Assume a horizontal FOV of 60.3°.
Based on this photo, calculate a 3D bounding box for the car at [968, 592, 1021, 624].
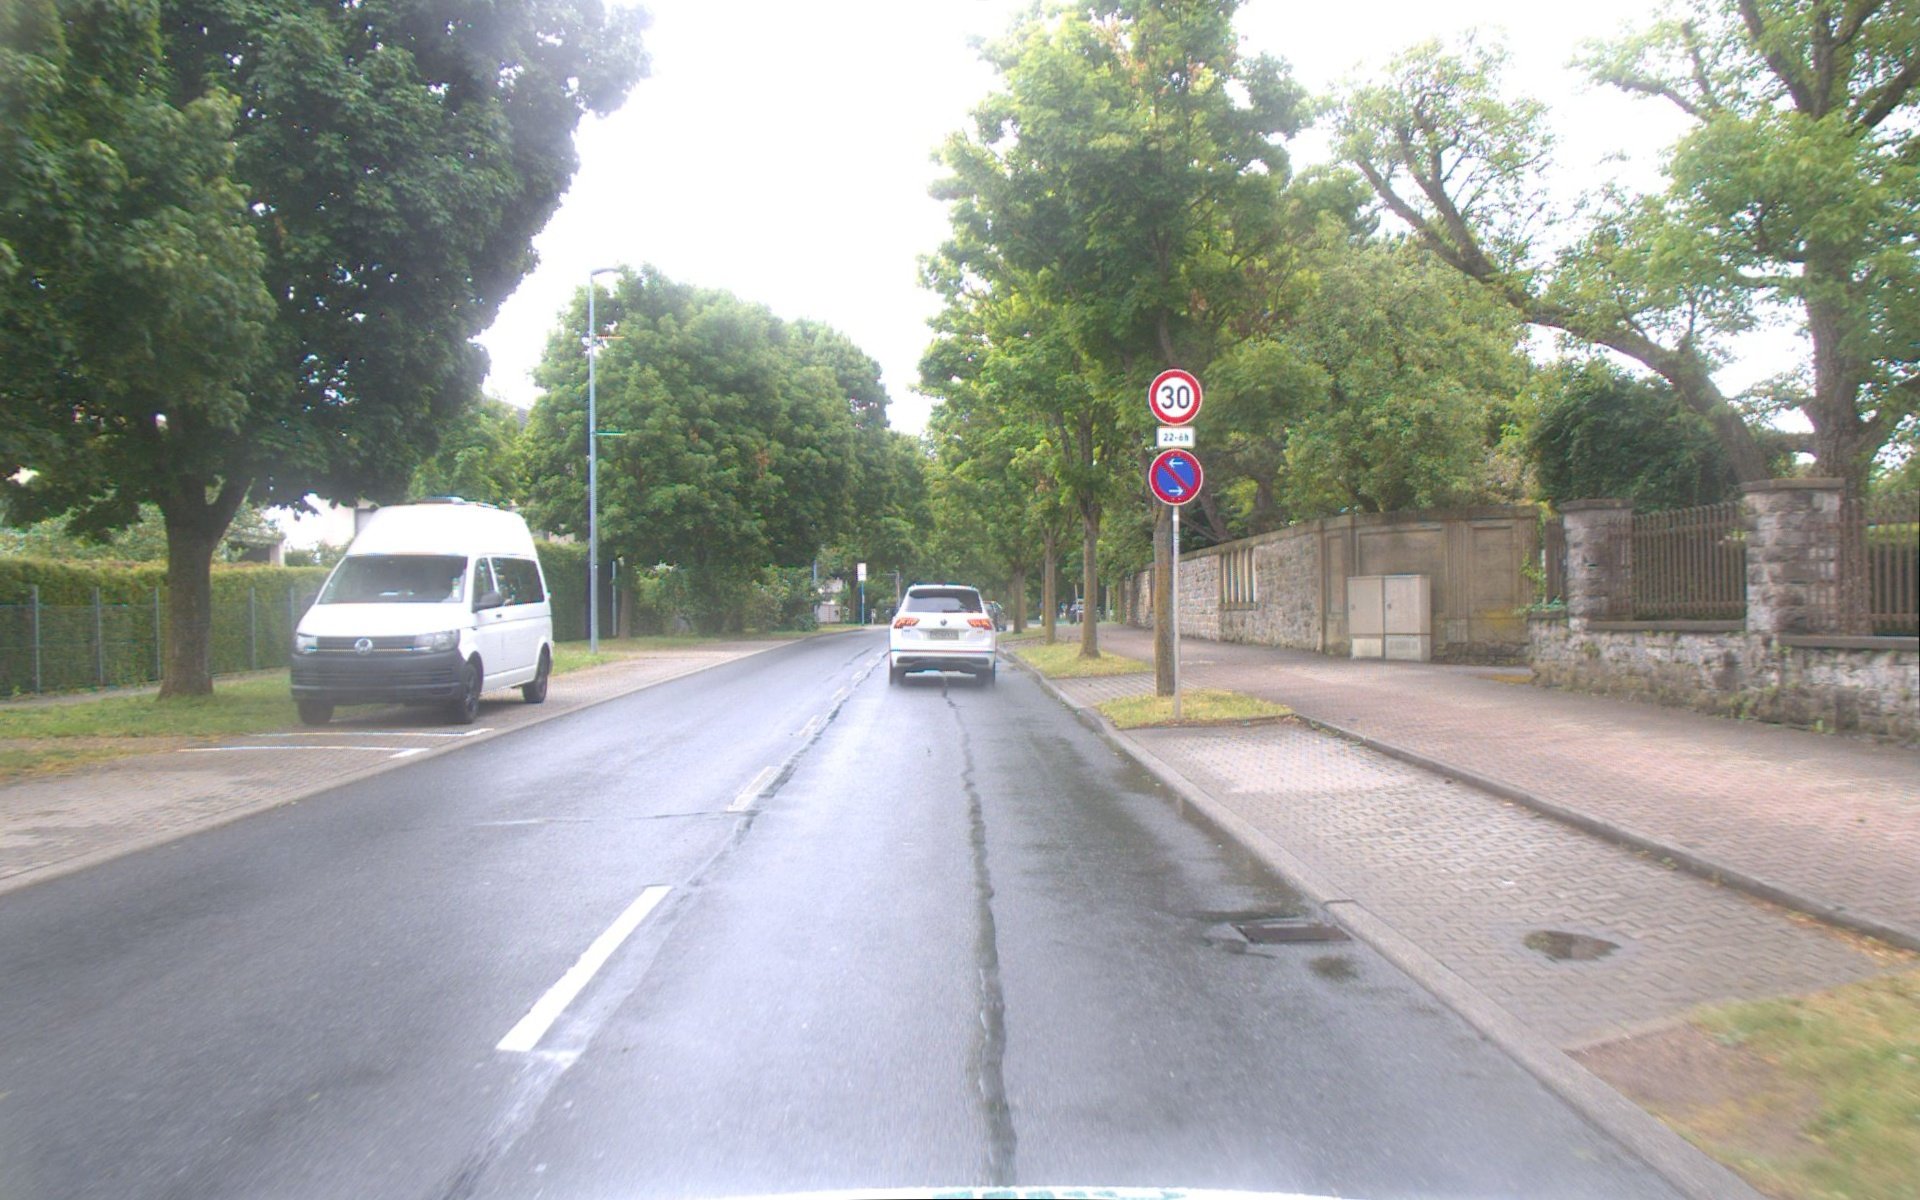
[{"bbox_3d":[1.735,0.390,82.563,1.801,1.513,4.003,2,0,14],"label":"car"}]

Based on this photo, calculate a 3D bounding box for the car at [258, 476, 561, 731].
[{"bbox_3d":[-6.329,0.015,19.748,1.953,2.605,5.231,-1,0,-2],"label":"car"}]

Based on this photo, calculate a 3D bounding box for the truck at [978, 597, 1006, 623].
[{"bbox_3d":[3.354,1.037,172.330,2.236,2.642,5.878,-1,-1,8],"label":"truck"}]

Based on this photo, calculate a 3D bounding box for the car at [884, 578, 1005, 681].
[{"bbox_3d":[-0.296,0.456,28.843,1.956,1.660,3.999,0,0,-1],"label":"car"}]

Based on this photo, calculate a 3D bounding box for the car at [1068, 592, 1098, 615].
[{"bbox_3d":[8.777,0.277,117.396,1.801,1.513,4.003,-3,-1,8],"label":"car"}]
